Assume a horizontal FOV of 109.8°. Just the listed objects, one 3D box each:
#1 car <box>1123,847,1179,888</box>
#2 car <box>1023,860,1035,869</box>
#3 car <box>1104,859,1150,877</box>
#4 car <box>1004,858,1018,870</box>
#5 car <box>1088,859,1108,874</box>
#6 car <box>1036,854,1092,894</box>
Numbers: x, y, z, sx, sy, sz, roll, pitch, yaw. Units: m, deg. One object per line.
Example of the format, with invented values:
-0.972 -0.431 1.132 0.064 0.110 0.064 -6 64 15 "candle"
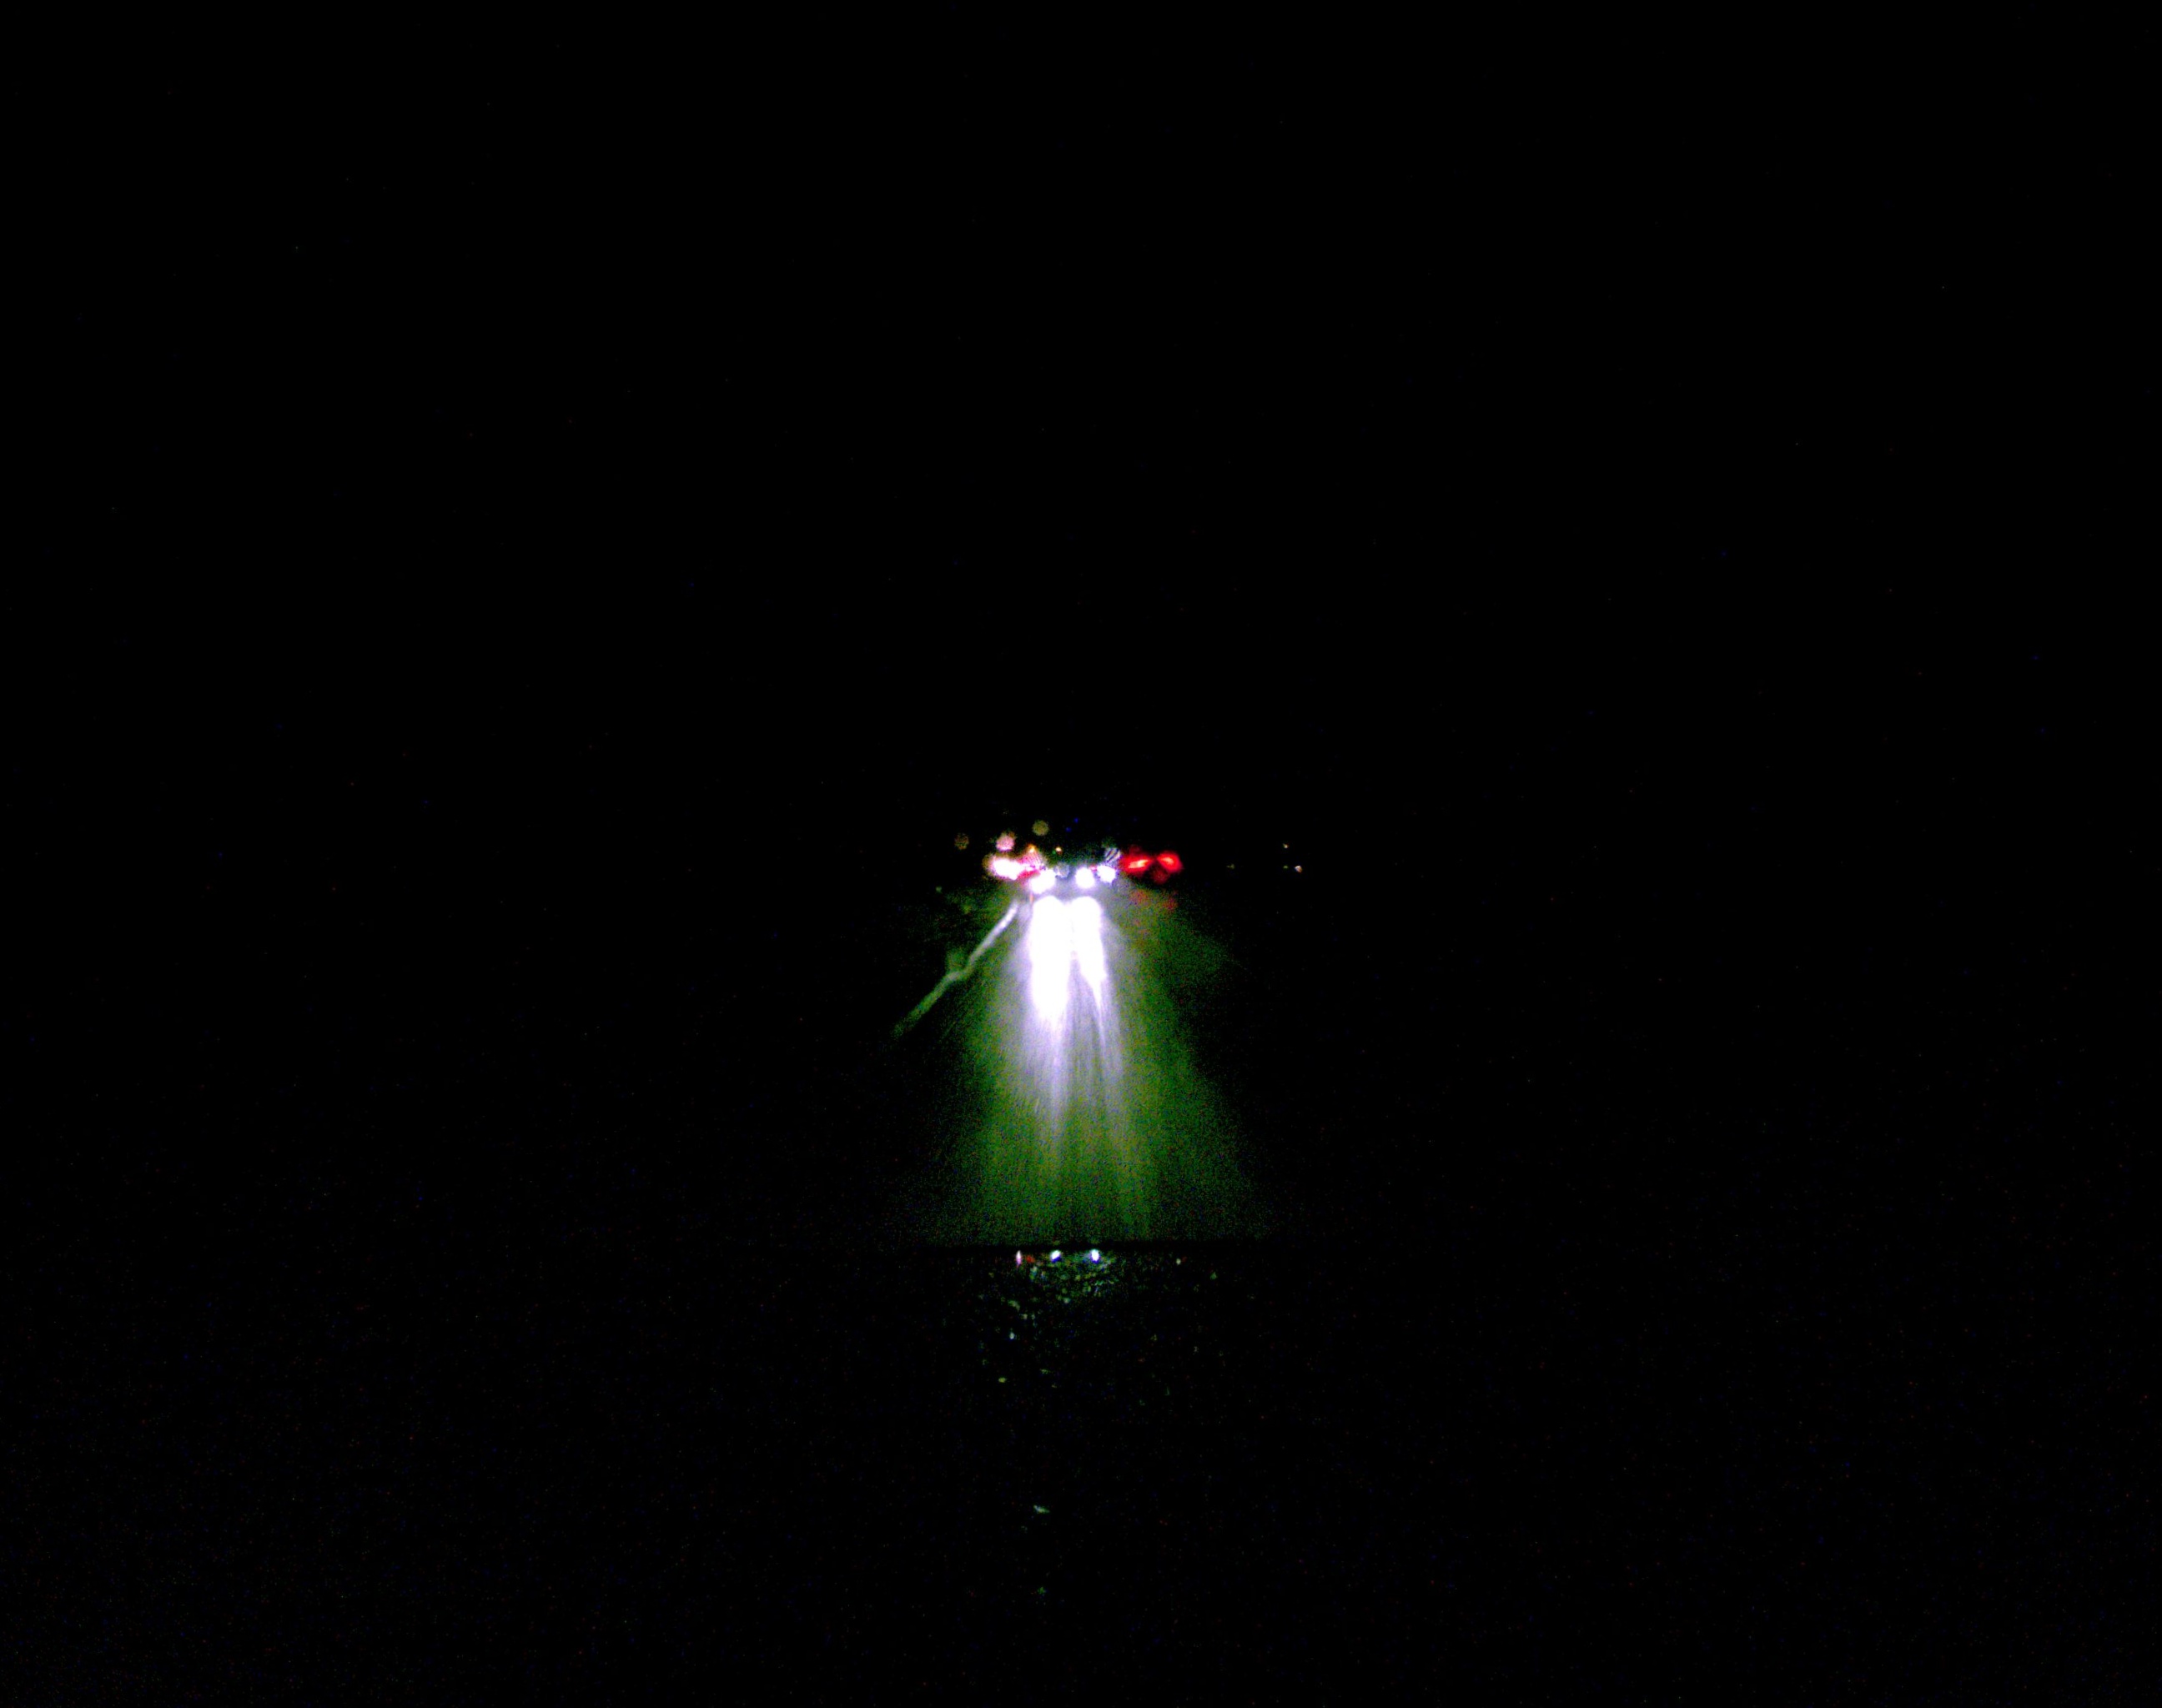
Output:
3.050 0.579 34.016 1.848 1.710 3.958 -1 0 -4 "car"
-8.561 1.809 125.630 1.761 1.397 4.485 -1 -1 -7 "car"
5.320 1.581 88.011 4.949 1.827 1.933 3 -1 -6 "car"
-9.862 1.428 106.689 1.902 1.551 3.997 2 0 -7 "car"
1.749 1.330 80.495 1.770 1.533 4.147 0 -1 -4 "car"
-0.778 0.807 31.924 1.902 1.551 3.997 2 0 -7 "car"
